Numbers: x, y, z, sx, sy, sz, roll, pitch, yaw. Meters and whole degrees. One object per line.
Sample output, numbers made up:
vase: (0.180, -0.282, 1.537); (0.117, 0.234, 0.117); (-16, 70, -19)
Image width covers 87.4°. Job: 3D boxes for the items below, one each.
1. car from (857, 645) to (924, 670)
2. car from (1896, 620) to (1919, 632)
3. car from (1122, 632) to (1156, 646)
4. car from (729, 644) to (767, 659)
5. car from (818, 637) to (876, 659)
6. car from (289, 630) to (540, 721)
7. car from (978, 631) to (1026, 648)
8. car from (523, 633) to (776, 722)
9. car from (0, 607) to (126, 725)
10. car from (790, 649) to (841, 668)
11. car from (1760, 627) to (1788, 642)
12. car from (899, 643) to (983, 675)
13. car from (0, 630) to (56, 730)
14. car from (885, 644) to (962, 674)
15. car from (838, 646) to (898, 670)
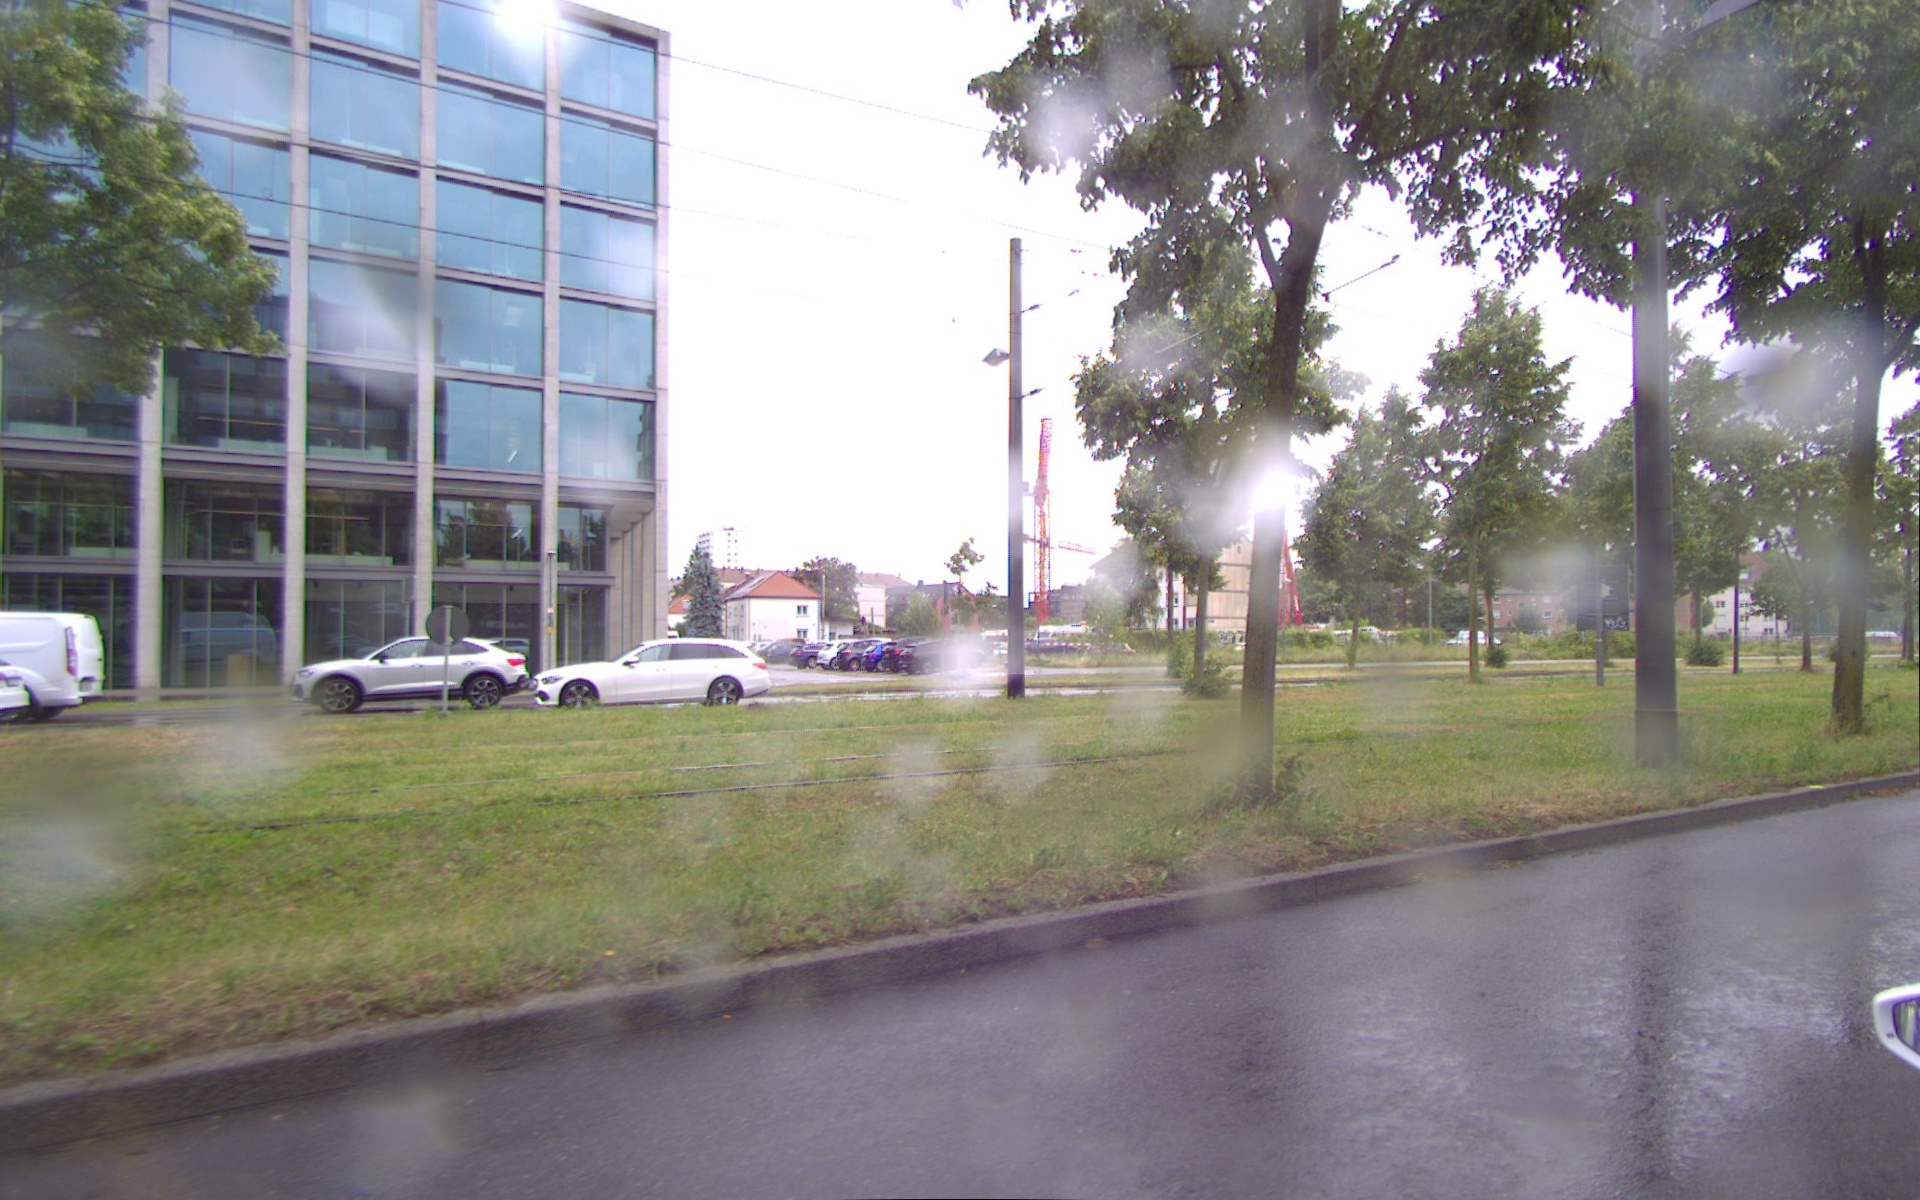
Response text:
car: (-3.530, 2.944, 51.321); (3.177, 1.082, 1.182); (-2, -1, -26)
car: (152.183, 4.140, 160.657); (3.487, 1.762, 1.699); (-2, -1, 37)
car: (15.988, 3.476, 89.745); (2.770, 1.123, 1.227); (-2, -1, -25)
car: (-17.004, 4.132, 80.587); (2.824, 1.030, 1.152); (-2, -1, -27)
car: (-6.376, 2.683, 56.661); (2.977, 1.087, 1.285); (-2, -1, -27)
car: (-11.546, 1.529, 21.584); (4.517, 1.772, 1.944); (1, -2, -27)
car: (3.662, 3.421, 87.446); (3.848, 1.368, 1.685); (-2, -1, -25)
car: (-6.418, 1.520, 20.849); (4.767, 1.480, 1.944); (-2, -1, -27)
car: (-18.621, 1.245, 17.943); (5.306, 2.033, 2.259); (-2, -1, -29)
car: (-8.804, 3.549, 61.211); (2.824, 1.030, 1.152); (-2, -1, -27)
car: (122.815, 5.157, 151.567); (3.953, 2.040, 1.984); (-2, -1, -31)
car: (-0.860, 2.725, 46.614); (3.612, 1.256, 1.495); (-2, -1, -27)
car: (-17.087, 1.224, 15.329); (4.522, 1.533, 1.942); (1, -2, -30)
car: (-1.765, 2.840, 48.799); (3.437, 1.256, 1.373); (-2, -1, -26)
car: (-4.955, 3.106, 54.184); (2.977, 1.087, 1.285); (-2, -1, -27)
